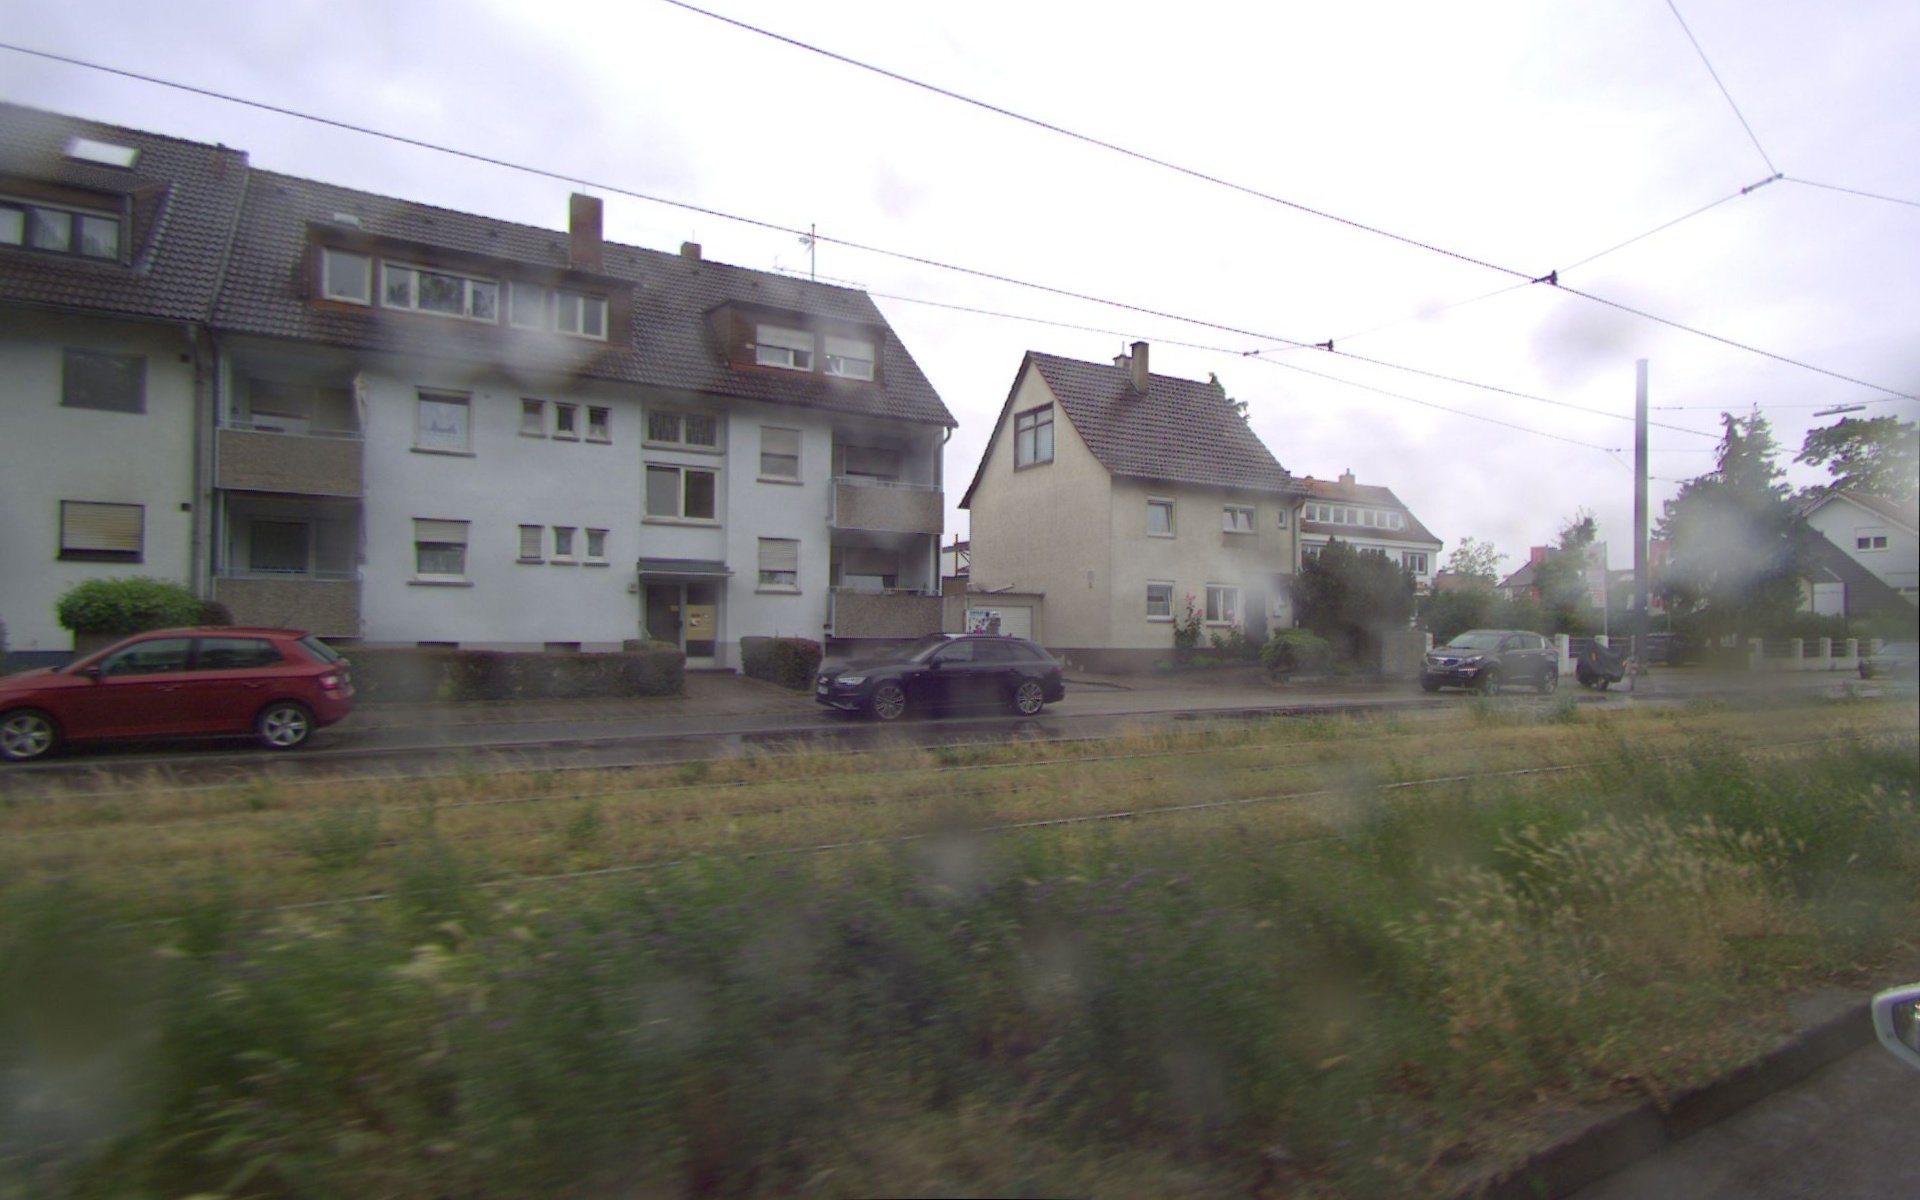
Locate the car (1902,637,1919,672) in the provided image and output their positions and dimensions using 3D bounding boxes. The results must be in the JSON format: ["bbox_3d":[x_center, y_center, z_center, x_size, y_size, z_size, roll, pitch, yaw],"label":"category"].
[{"bbox_3d":[41.708,2.320,42.224,3.923,1.430,1.984,1,0,-30],"label":"car"}]

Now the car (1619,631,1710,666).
[{"bbox_3d":[32.656,2.227,46.554,3.871,1.475,1.984,1,0,-30],"label":"car"}]

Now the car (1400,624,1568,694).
[{"bbox_3d":[13.869,1.519,26.537,4.338,1.696,1.983,2,-1,-31],"label":"car"}]

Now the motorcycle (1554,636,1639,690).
[{"bbox_3d":[18.476,1.795,29.259,1.241,1.429,2.689,2,-1,13],"label":"motorcycle"}]

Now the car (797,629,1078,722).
[{"bbox_3d":[-0.369,1.272,18.155,4.701,1.430,1.986,1,0,-28],"label":"car"}]

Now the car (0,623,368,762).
[{"bbox_3d":[-9.800,1.069,12.617,3.949,1.476,1.791,1,0,-28],"label":"car"}]

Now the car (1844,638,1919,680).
[{"bbox_3d":[36.901,2.269,39.325,4.474,1.475,1.986,1,0,-28],"label":"car"}]
